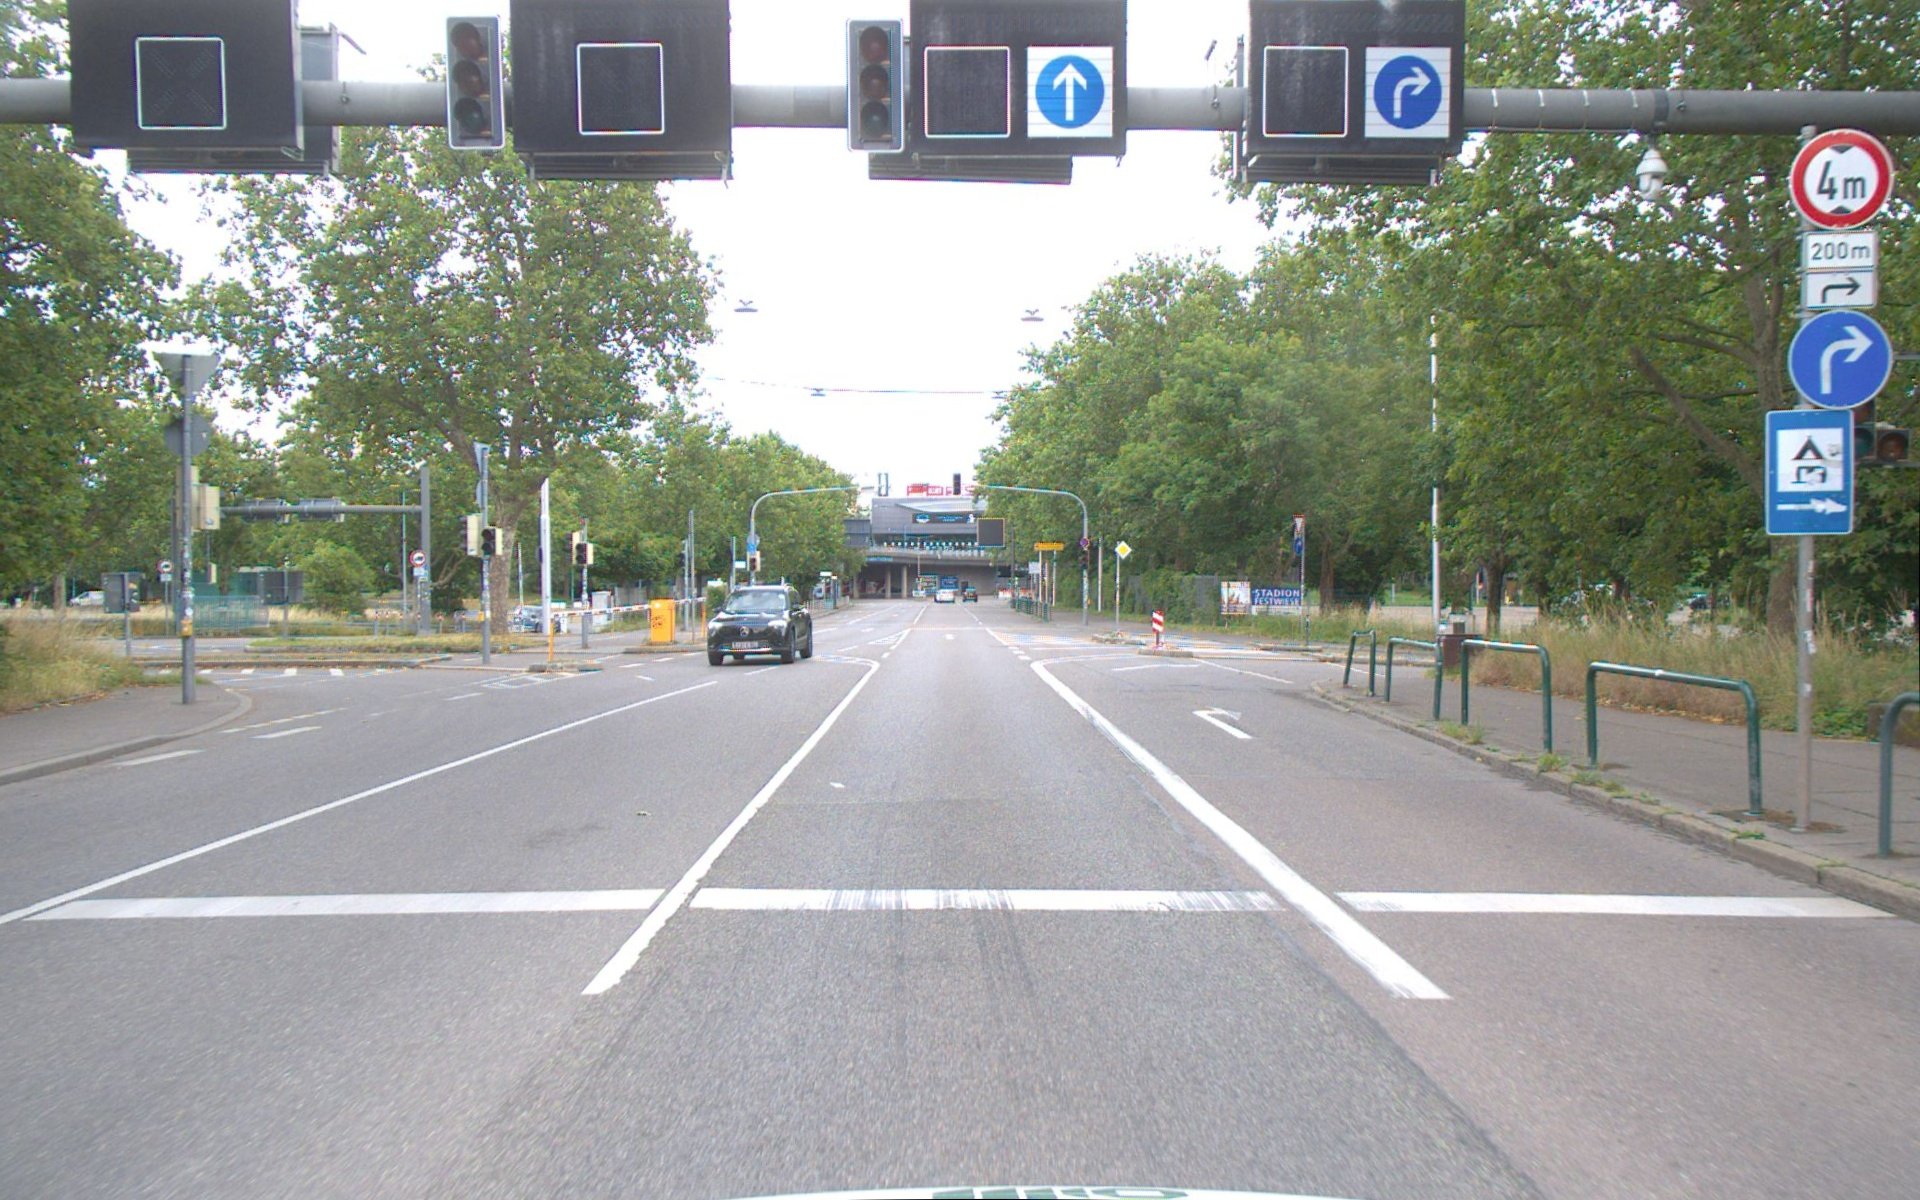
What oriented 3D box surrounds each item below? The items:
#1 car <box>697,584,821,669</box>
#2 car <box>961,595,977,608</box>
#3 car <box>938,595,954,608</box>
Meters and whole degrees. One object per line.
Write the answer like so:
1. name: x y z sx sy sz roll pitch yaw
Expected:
1. car: -4.334 0.552 36.341 1.952 1.689 4.518 -2 0 2
2. car: 1.199 0.166 215.269 1.966 1.728 4.069 0 0 1
3. car: -1.566 0.147 191.353 1.742 1.486 3.822 2 0 0
